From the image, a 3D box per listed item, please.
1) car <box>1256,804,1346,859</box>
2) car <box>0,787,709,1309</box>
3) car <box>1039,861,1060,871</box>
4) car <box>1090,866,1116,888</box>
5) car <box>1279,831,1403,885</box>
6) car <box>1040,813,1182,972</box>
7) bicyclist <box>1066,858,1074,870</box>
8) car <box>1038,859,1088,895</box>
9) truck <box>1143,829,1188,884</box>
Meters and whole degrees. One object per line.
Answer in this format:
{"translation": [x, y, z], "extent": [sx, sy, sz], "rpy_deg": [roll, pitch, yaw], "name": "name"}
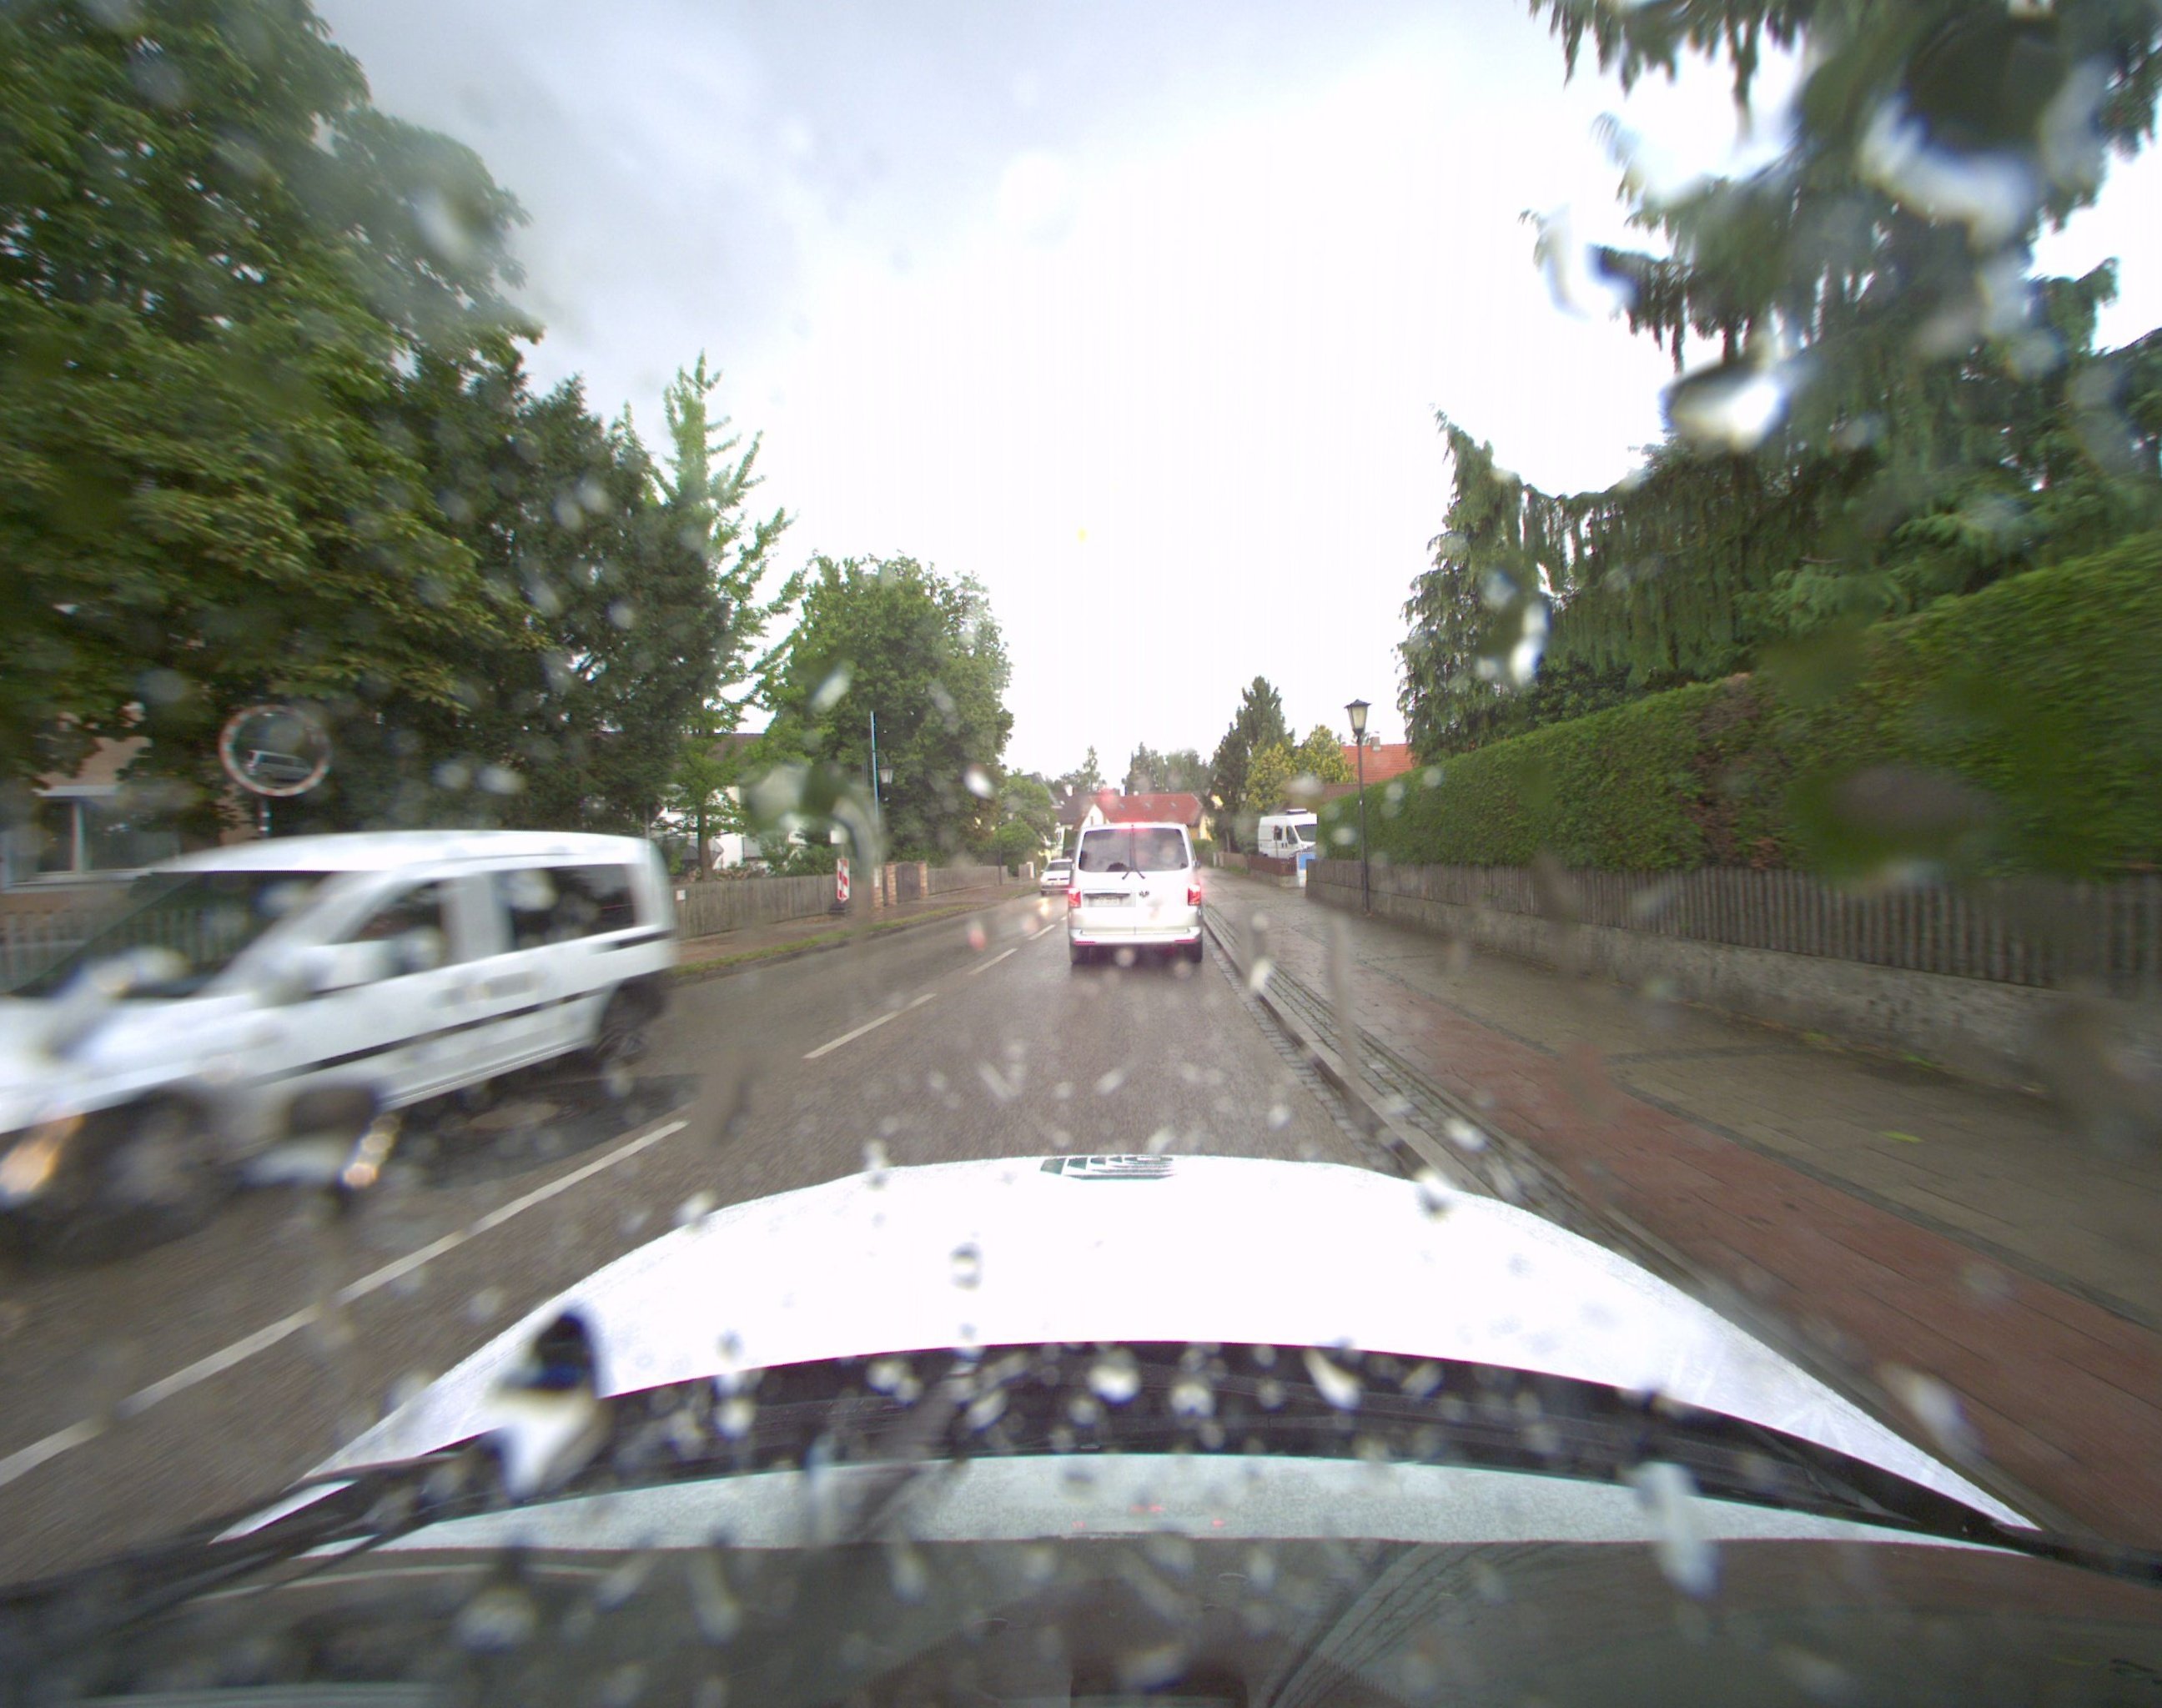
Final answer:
{"translation": [9.521, -0.900, 35.699], "extent": [1.993, 2.173, 4.938], "rpy_deg": [0, -1, -8], "name": "car"}
{"translation": [-4.220, 0.660, 4.783], "extent": [1.631, 1.765, 4.339], "rpy_deg": [-1, 0, 7], "name": "car"}
{"translation": [-4.552, 1.689, 115.908], "extent": [1.787, 1.310, 3.747], "rpy_deg": [0, -1, -23], "name": "car"}
{"translation": [1.556, 1.538, 55.763], "extent": [1.709, 1.442, 4.002], "rpy_deg": [-1, -1, 2], "name": "car"}
{"translation": [9.690, 0.118, 30.507], "extent": [4.078, 1.751, 1.695], "rpy_deg": [-3, 2, 1], "name": "car"}
{"translation": [0.620, 0.527, 12.450], "extent": [1.791, 2.014, 4.008], "rpy_deg": [-1, -1, 7], "name": "car"}
{"translation": [-0.941, 0.878, 72.056], "extent": [0.584, 1.021, 1.062], "rpy_deg": [-2, 0, 4], "name": "bicyclist"}
{"translation": [-0.728, 0.969, 34.900], "extent": [1.609, 1.444, 3.677], "rpy_deg": [-1, -1, 7], "name": "car"}
{"translation": [5.005, 0.166, 48.943], "extent": [2.464, 3.074, 6.303], "rpy_deg": [-1, -1, 5], "name": "truck"}
